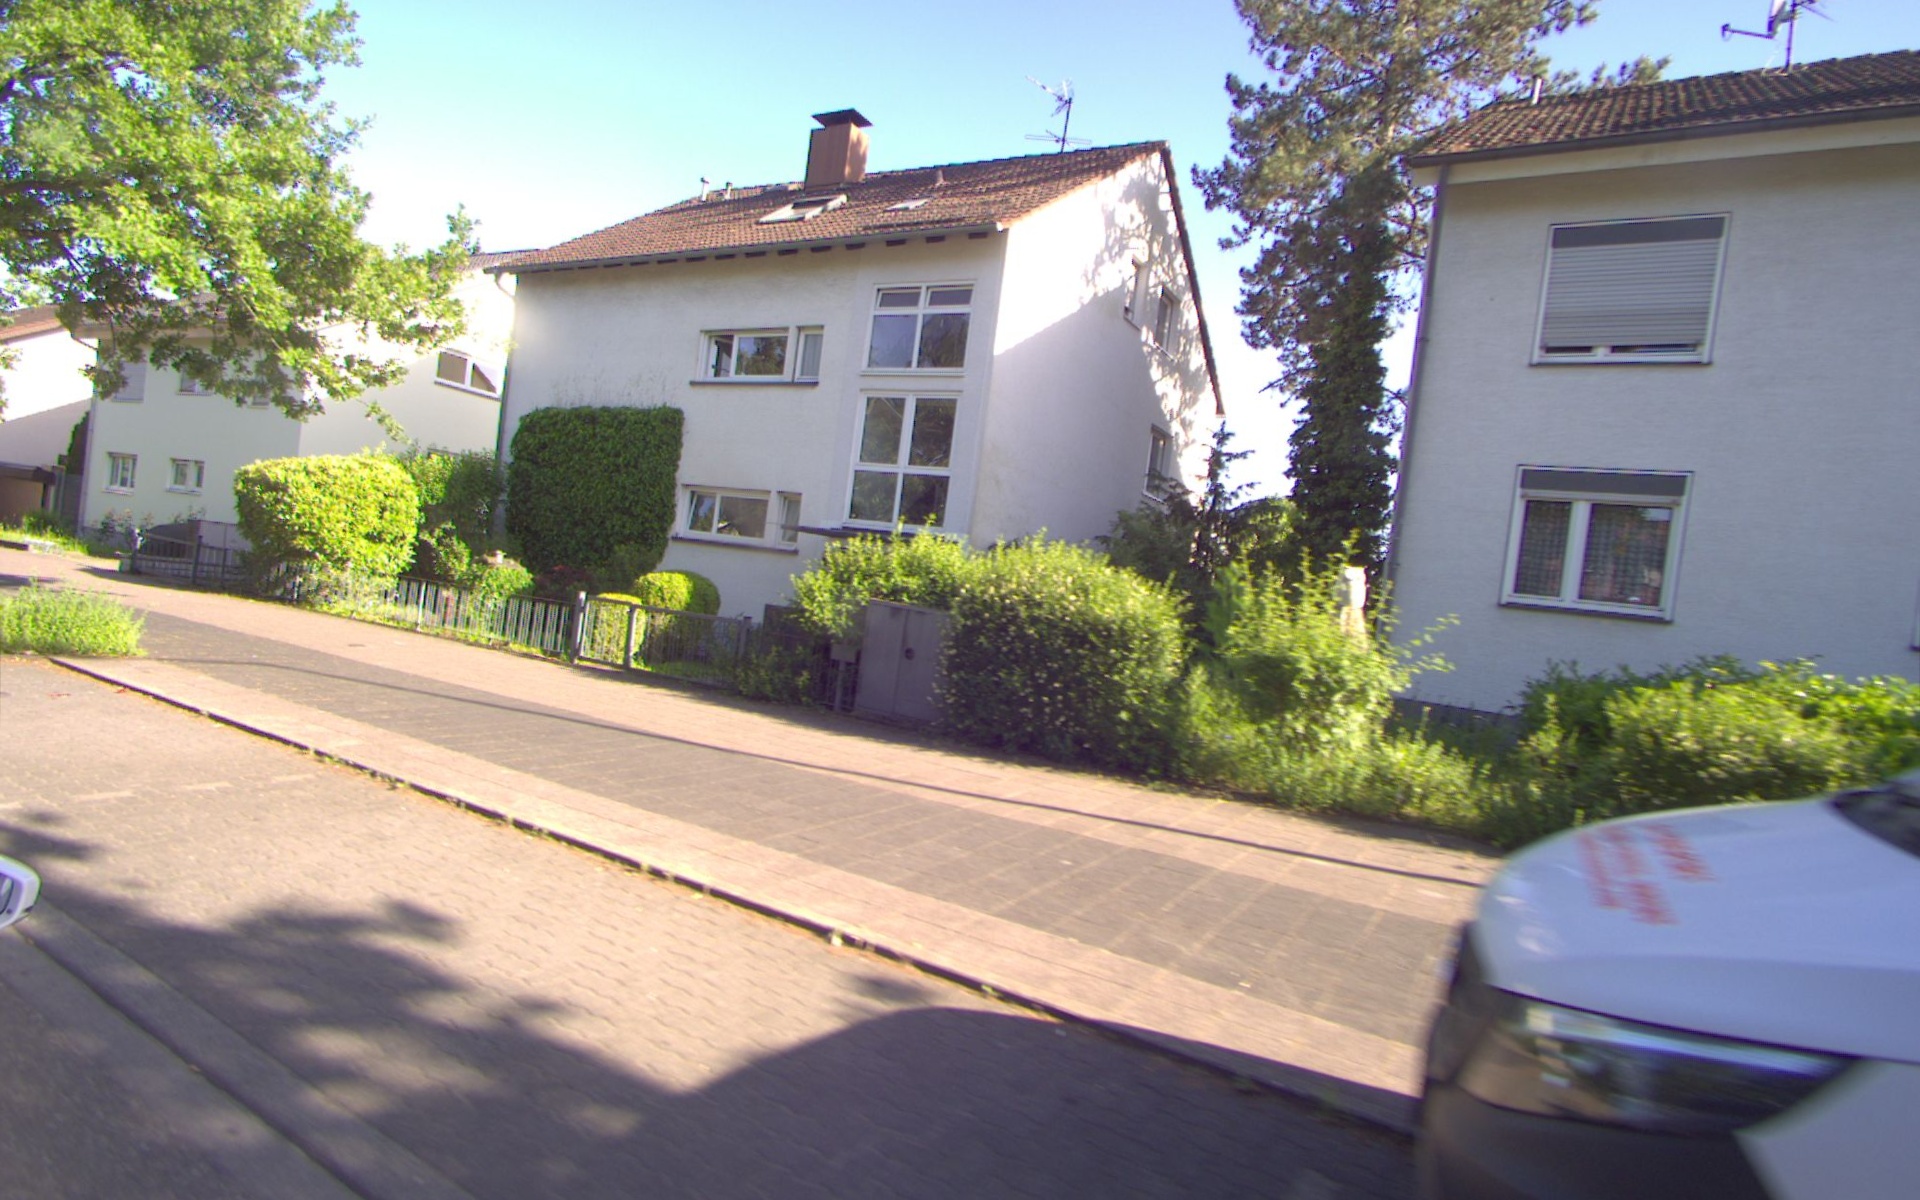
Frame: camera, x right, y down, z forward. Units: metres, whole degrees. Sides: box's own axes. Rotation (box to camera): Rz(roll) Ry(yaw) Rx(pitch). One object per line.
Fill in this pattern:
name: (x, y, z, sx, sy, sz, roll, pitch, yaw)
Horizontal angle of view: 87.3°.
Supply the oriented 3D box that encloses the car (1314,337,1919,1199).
car: (3.116, 0.864, 1.335, 4.678, 1.995, 1.838, 7, 0, 30)
